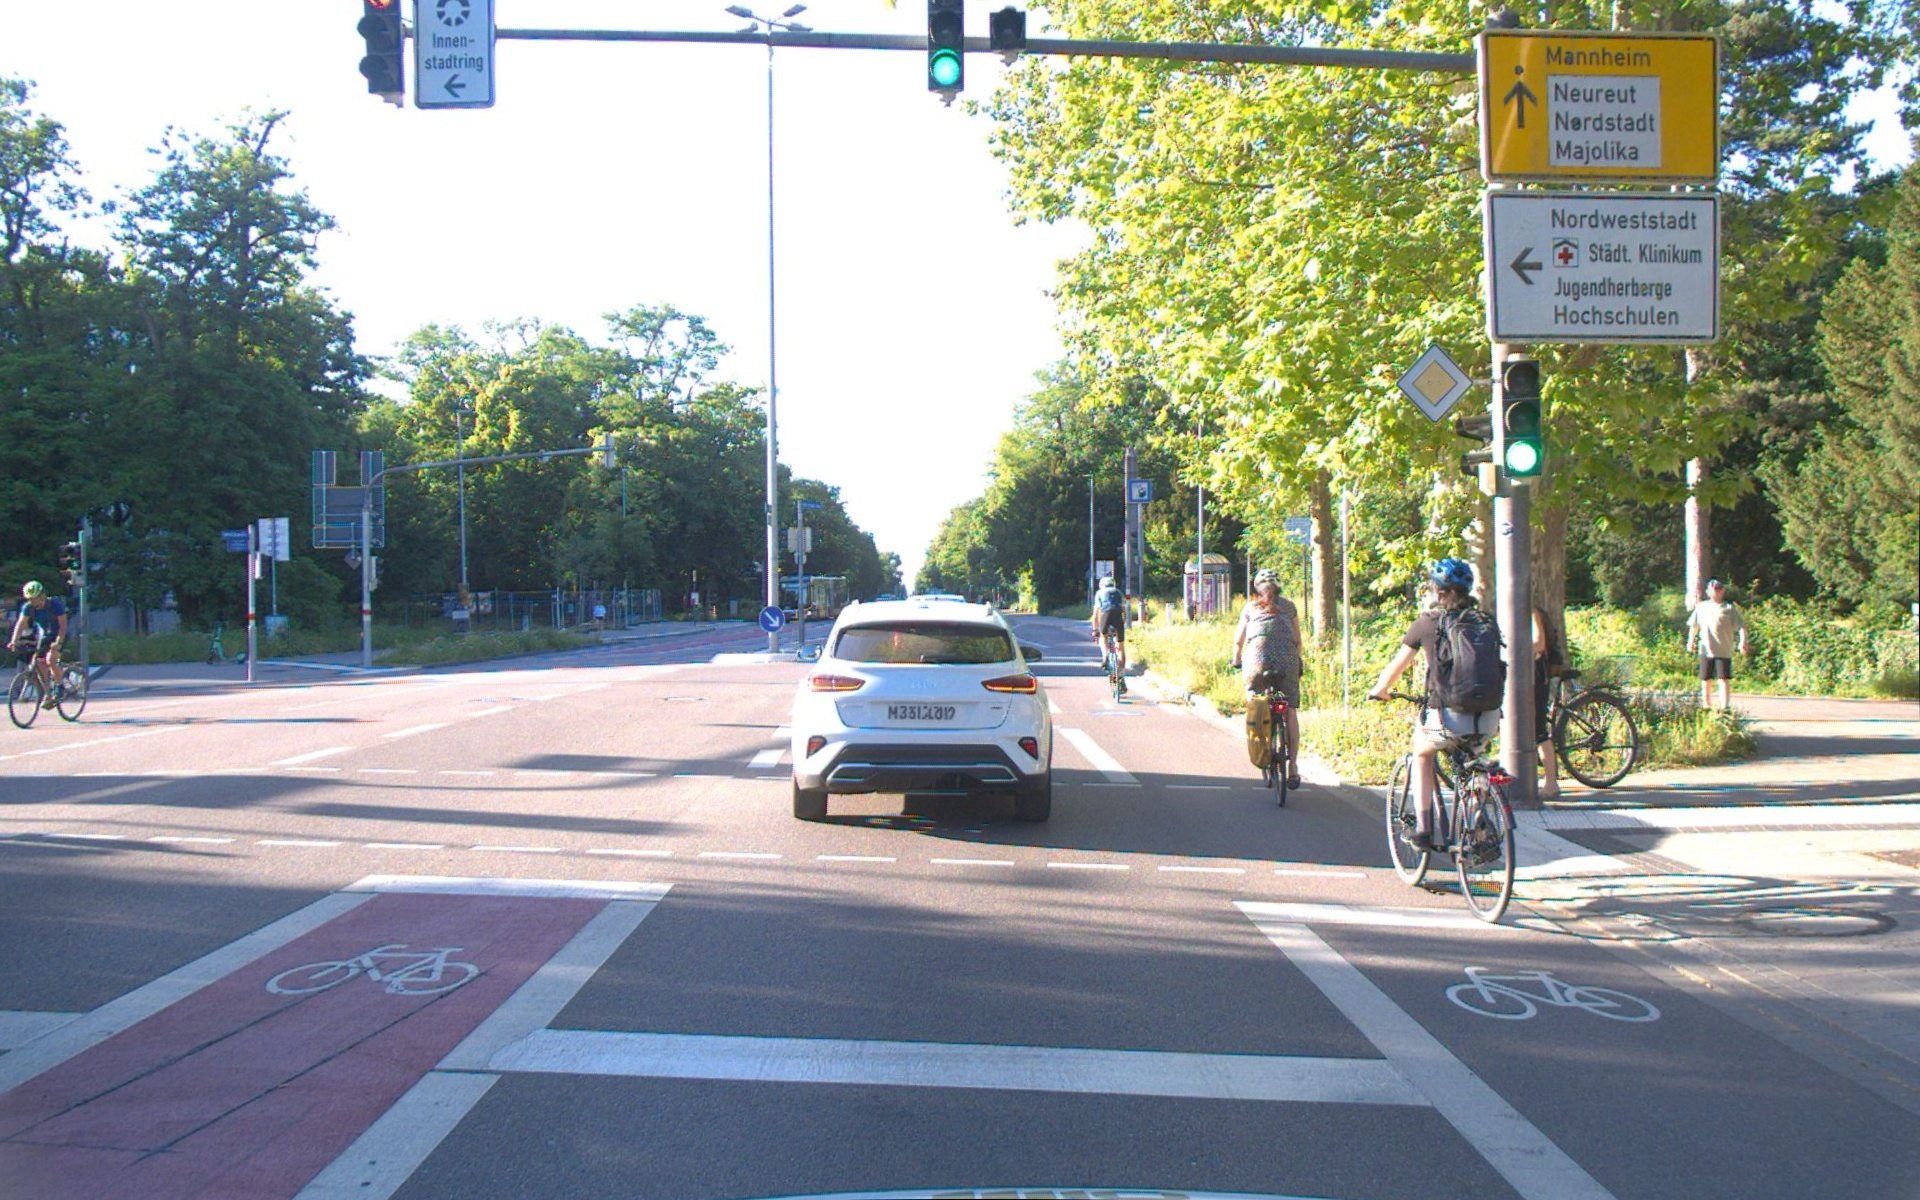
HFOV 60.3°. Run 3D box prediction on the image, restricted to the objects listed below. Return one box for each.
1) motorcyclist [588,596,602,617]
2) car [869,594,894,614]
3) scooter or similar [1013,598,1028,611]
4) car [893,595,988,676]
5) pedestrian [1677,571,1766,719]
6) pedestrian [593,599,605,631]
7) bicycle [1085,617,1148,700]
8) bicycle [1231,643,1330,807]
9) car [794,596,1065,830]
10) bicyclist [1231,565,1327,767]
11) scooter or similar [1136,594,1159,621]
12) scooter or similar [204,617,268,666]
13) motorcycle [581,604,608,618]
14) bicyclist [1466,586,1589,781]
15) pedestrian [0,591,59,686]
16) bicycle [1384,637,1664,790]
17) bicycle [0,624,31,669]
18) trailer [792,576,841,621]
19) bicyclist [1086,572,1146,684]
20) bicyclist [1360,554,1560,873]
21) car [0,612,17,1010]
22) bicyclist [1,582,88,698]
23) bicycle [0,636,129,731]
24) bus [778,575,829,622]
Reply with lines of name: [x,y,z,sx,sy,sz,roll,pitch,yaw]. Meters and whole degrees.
motorcyclist: [-37.841,0.690,171.566,1.104,2.220,1.010,-1,0,43]
car: [-6.295,0.319,133.003,1.675,1.446,4.555,-1,1,1]
scooter or similar: [5.998,0.405,163.422,1.530,1.272,0.526,-1,0,-45]
car: [-0.328,0.644,32.026,1.641,1.442,3.575,-1,0,2]
pedestrian: [8.258,0.480,17.965,0.675,1.573,0.681,-1,0,8]
pedestrian: [-17.348,0.717,79.493,0.442,1.560,0.571,-1,0,-5]
bicycle: [2.262,0.826,24.149,0.872,1.114,2.137,0,0,4]
bicycle: [2.510,0.940,13.069,0.678,1.114,2.138,-1,0,10]
car: [-0.343,0.734,12.532,1.727,1.485,3.814,1,0,-5]
bicyclist: [2.485,0.502,12.926,0.678,1.516,0.801,-1,0,10]
scooter or similar: [9.040,0.365,79.603,0.707,1.269,1.328,-4,-2,22]
scooter or similar: [-20.011,1.141,45.725,0.680,1.316,1.494,-1,0,28]
motorcycle: [-37.910,1.143,171.471,1.114,1.477,2.491,-1,0,42]
bicyclist: [4.421,0.637,12.928,0.748,1.473,0.696,-1,0,6]
pedestrian: [-18.499,0.760,32.858,0.727,1.848,0.727,-1,0,8]
bicycle: [4.367,0.873,12.926,1.942,1.114,0.696,-1,0,6]
bicycle: [-26.032,1.244,43.626,2.516,1.155,0.981,-1,0,4]
trailer: [-11.297,-0.116,131.102,2.796,3.414,9.363,1,0,1]
bicyclist: [2.252,0.396,24.008,0.842,1.594,0.881,0,0,4]
bicyclist: [2.533,0.545,8.466,0.679,1.527,0.892,-1,0,-4]
car: [-4.281,0.747,3.786,1.682,1.442,4.526,1,0,-1]
bicyclist: [-12.049,0.513,21.788,0.681,1.491,0.758,-1,0,3]
bicycle: [-12.029,1.088,22.053,0.681,1.136,2.190,-1,0,3]
bus: [-11.454,-0.120,122.060,2.782,3.252,8.600,-1,0,1]
